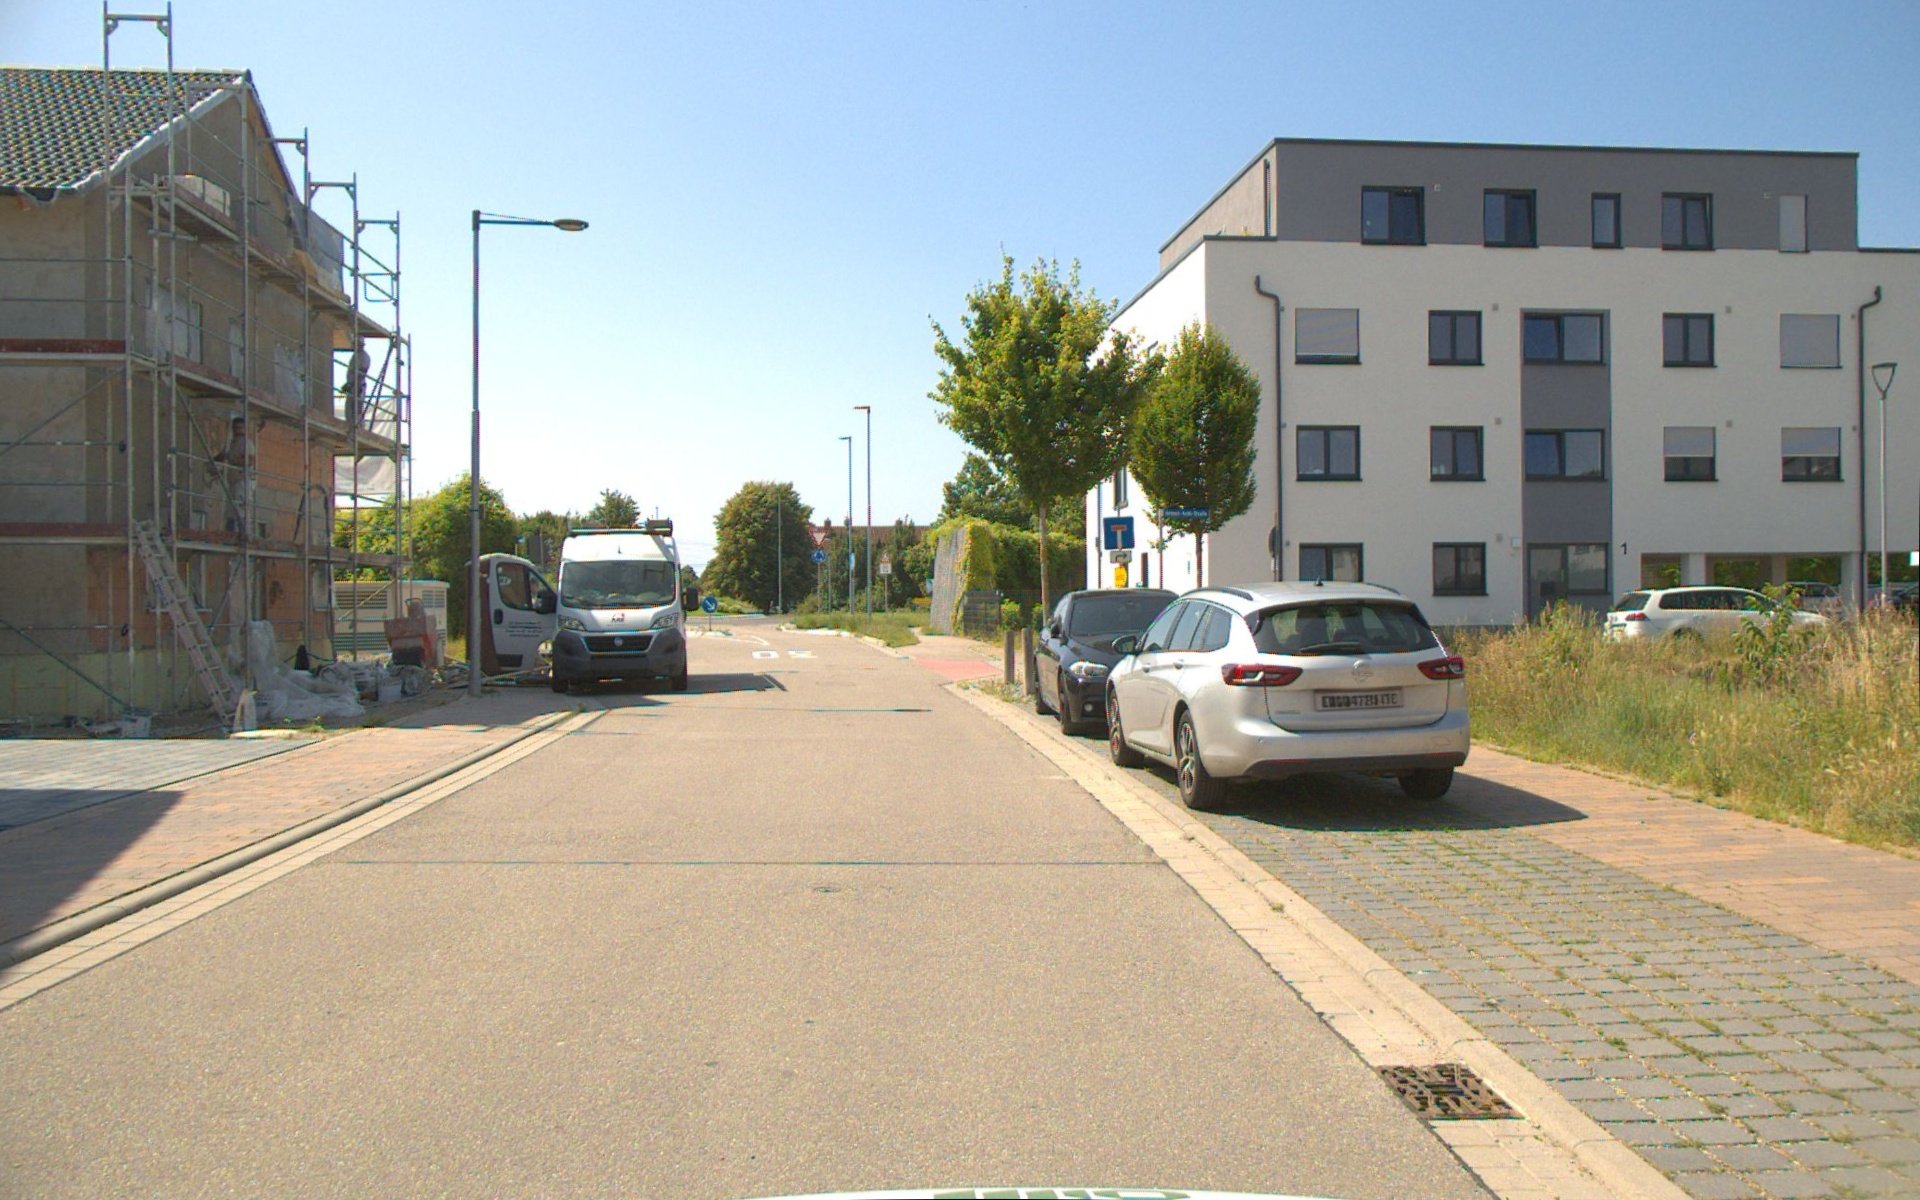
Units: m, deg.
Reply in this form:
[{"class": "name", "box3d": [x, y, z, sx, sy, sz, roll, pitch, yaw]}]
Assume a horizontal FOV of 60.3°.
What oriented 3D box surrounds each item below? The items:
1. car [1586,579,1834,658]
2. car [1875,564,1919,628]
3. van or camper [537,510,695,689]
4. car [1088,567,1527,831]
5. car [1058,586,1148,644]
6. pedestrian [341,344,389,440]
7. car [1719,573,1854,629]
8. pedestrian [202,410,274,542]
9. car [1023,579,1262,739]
[{"class": "car", "box3d": [14.820, 0.358, 32.804, 4.078, 1.461, 1.880, -1, -1, -7]}, {"class": "car", "box3d": [28.724, -0.129, 47.899, 1.840, 1.841, 4.167, -1, -1, -5]}, {"class": "van or camper", "box3d": [-5.588, 0.011, 27.328, 2.232, 2.598, 6.351, -1, 0, -10]}, {"class": "car", "box3d": [2.339, 0.565, 12.738, 1.881, 1.537, 5.290, -2, 1, -4]}, {"class": "car", "box3d": [3.873, 0.379, 45.401, 1.645, 1.495, 4.110, 0, 1, -7]}, {"class": "pedestrian", "box3d": [-10.292, -3.588, 28.594, 0.558, 1.526, 0.737, 1, -3, -41]}, {"class": "car", "box3d": [23.955, 0.046, 48.098, 1.840, 1.529, 3.675, -1, -1, -5]}, {"class": "pedestrian", "box3d": [-9.815, -1.665, 22.486, 0.568, 1.709, 0.743, -3, -3, 43]}, {"class": "car", "box3d": [1.893, 0.543, 18.787, 1.880, 1.495, 5.137, -2, 1, -3]}]
